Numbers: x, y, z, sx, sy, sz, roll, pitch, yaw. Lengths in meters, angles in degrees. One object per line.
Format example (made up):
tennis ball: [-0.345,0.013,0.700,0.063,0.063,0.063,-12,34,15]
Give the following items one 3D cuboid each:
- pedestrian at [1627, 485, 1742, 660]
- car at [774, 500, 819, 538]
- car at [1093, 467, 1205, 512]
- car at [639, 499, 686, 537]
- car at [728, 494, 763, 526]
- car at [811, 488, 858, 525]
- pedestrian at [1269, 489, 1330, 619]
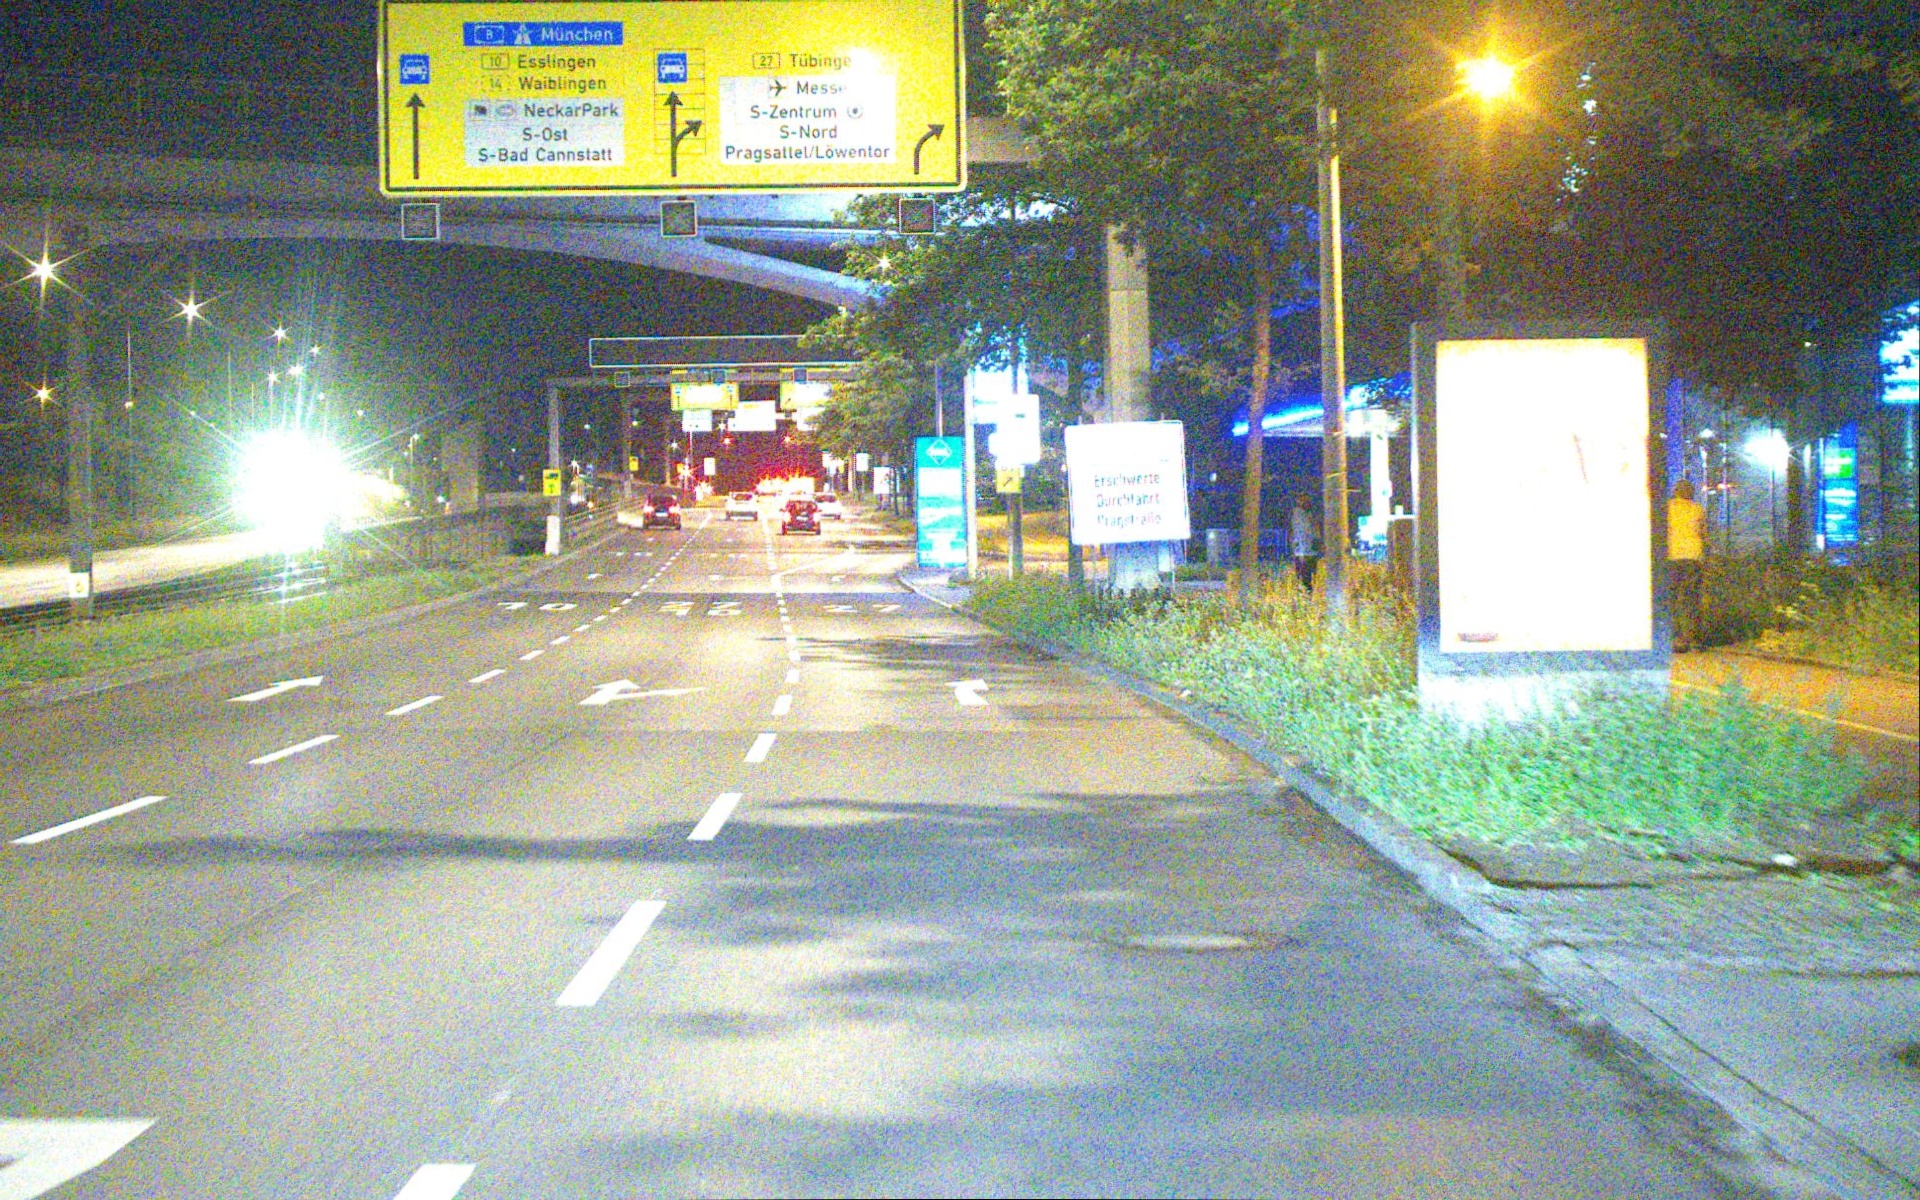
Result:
pedestrian: [7.275,-0.275,34.546,0.852,1.701,0.957,2,0,-2]
car: [-7.501,-3.706,158.115,1.968,1.705,4.000,1,1,-1]
car: [7.247,-4.227,132.074,4.119,1.517,1.822,-2,0,-1]
car: [-14.191,-3.910,164.373,1.968,1.705,4.000,1,1,-1]
car: [-12.044,-5.052,193.305,1.782,1.705,4.000,1,1,-1]
car: [-7.344,-5.456,201.274,2.651,2.007,5.300,1,1,-1]
pedestrian: [5.113,-0.700,51.722,0.805,1.906,0.793,-3,1,7]
